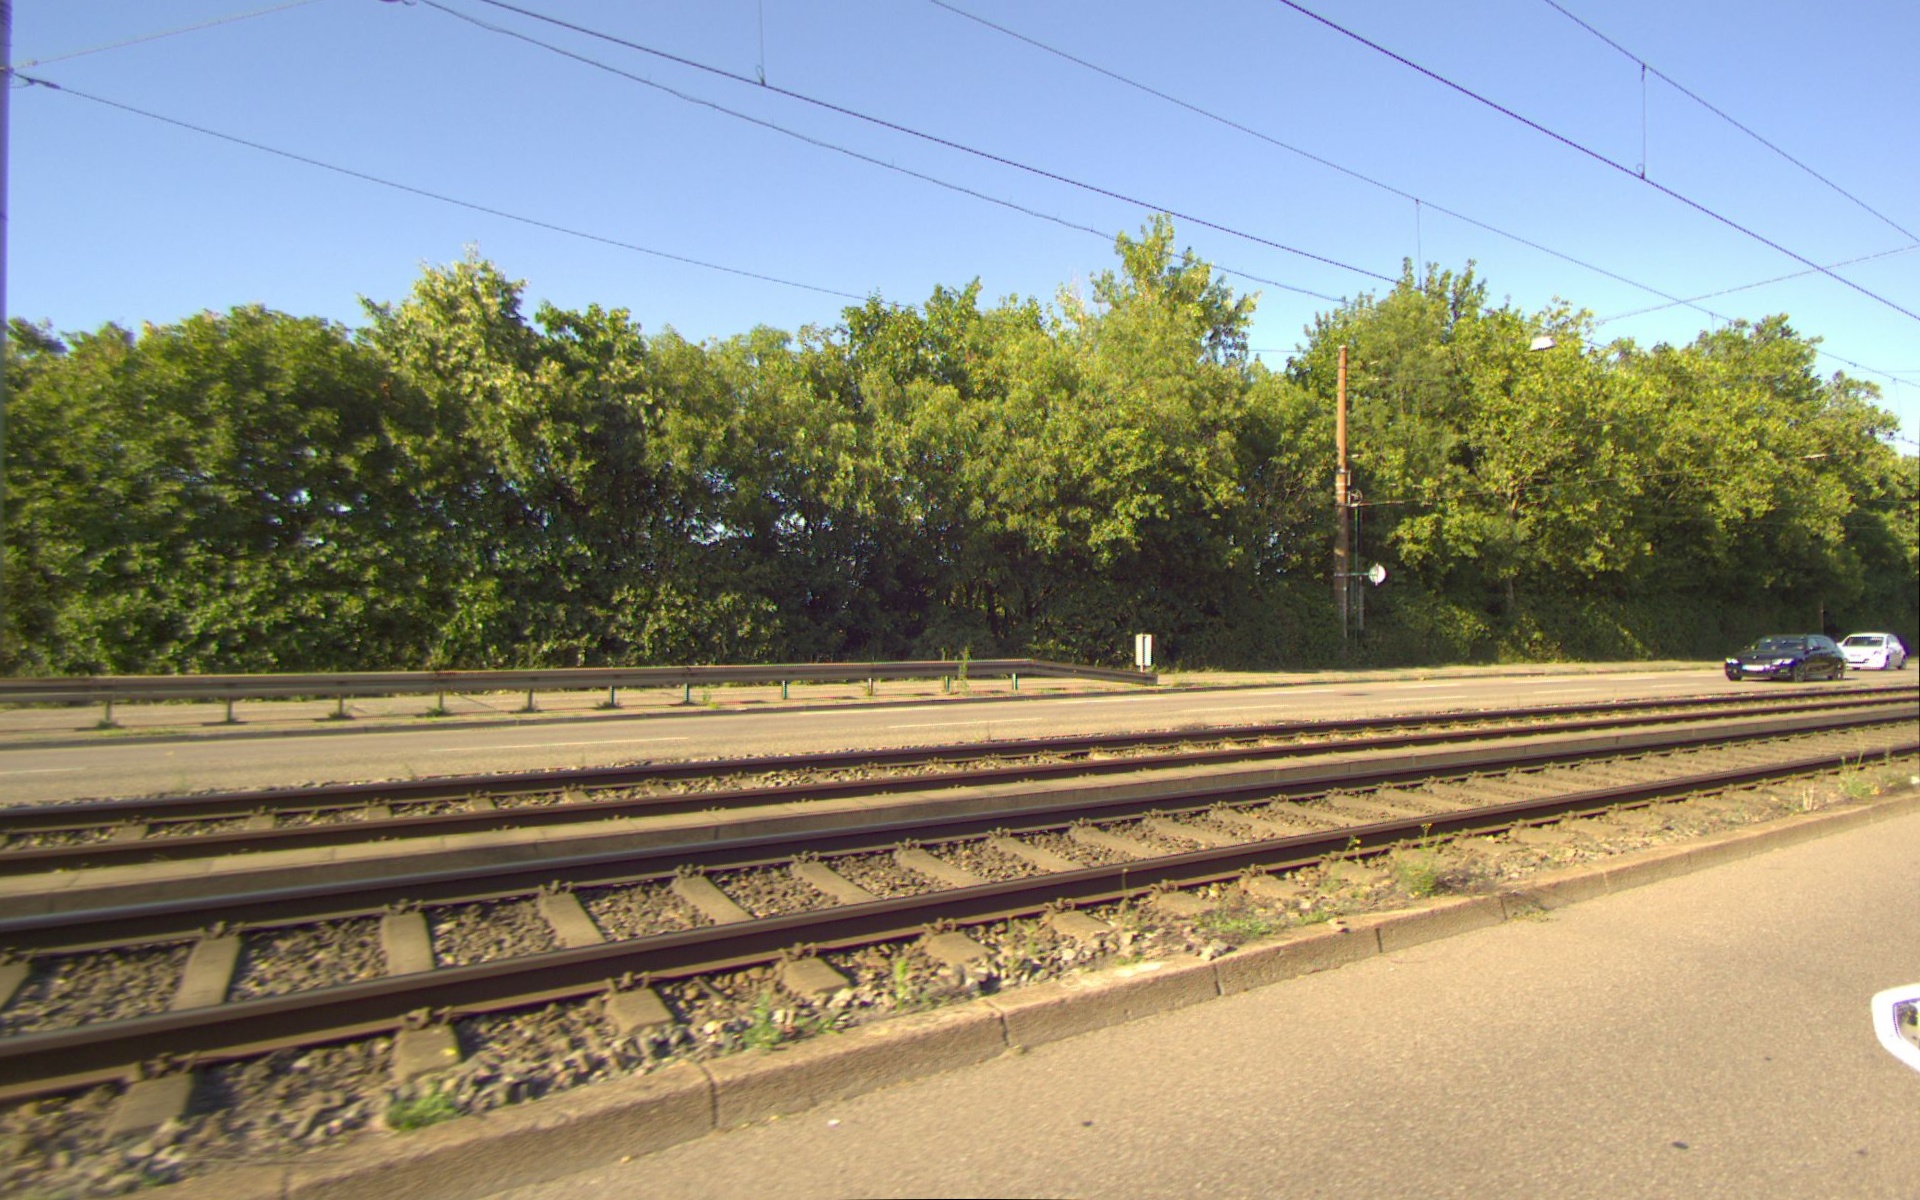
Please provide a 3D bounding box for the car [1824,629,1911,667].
[{"bbox_3d":[39.707,2.096,43.926,4.143,1.576,1.683,2,-3,-31],"label":"car"}]

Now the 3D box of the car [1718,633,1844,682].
[{"bbox_3d":[25.693,1.789,31.393,4.450,1.451,1.649,2,-4,-31],"label":"car"}]
